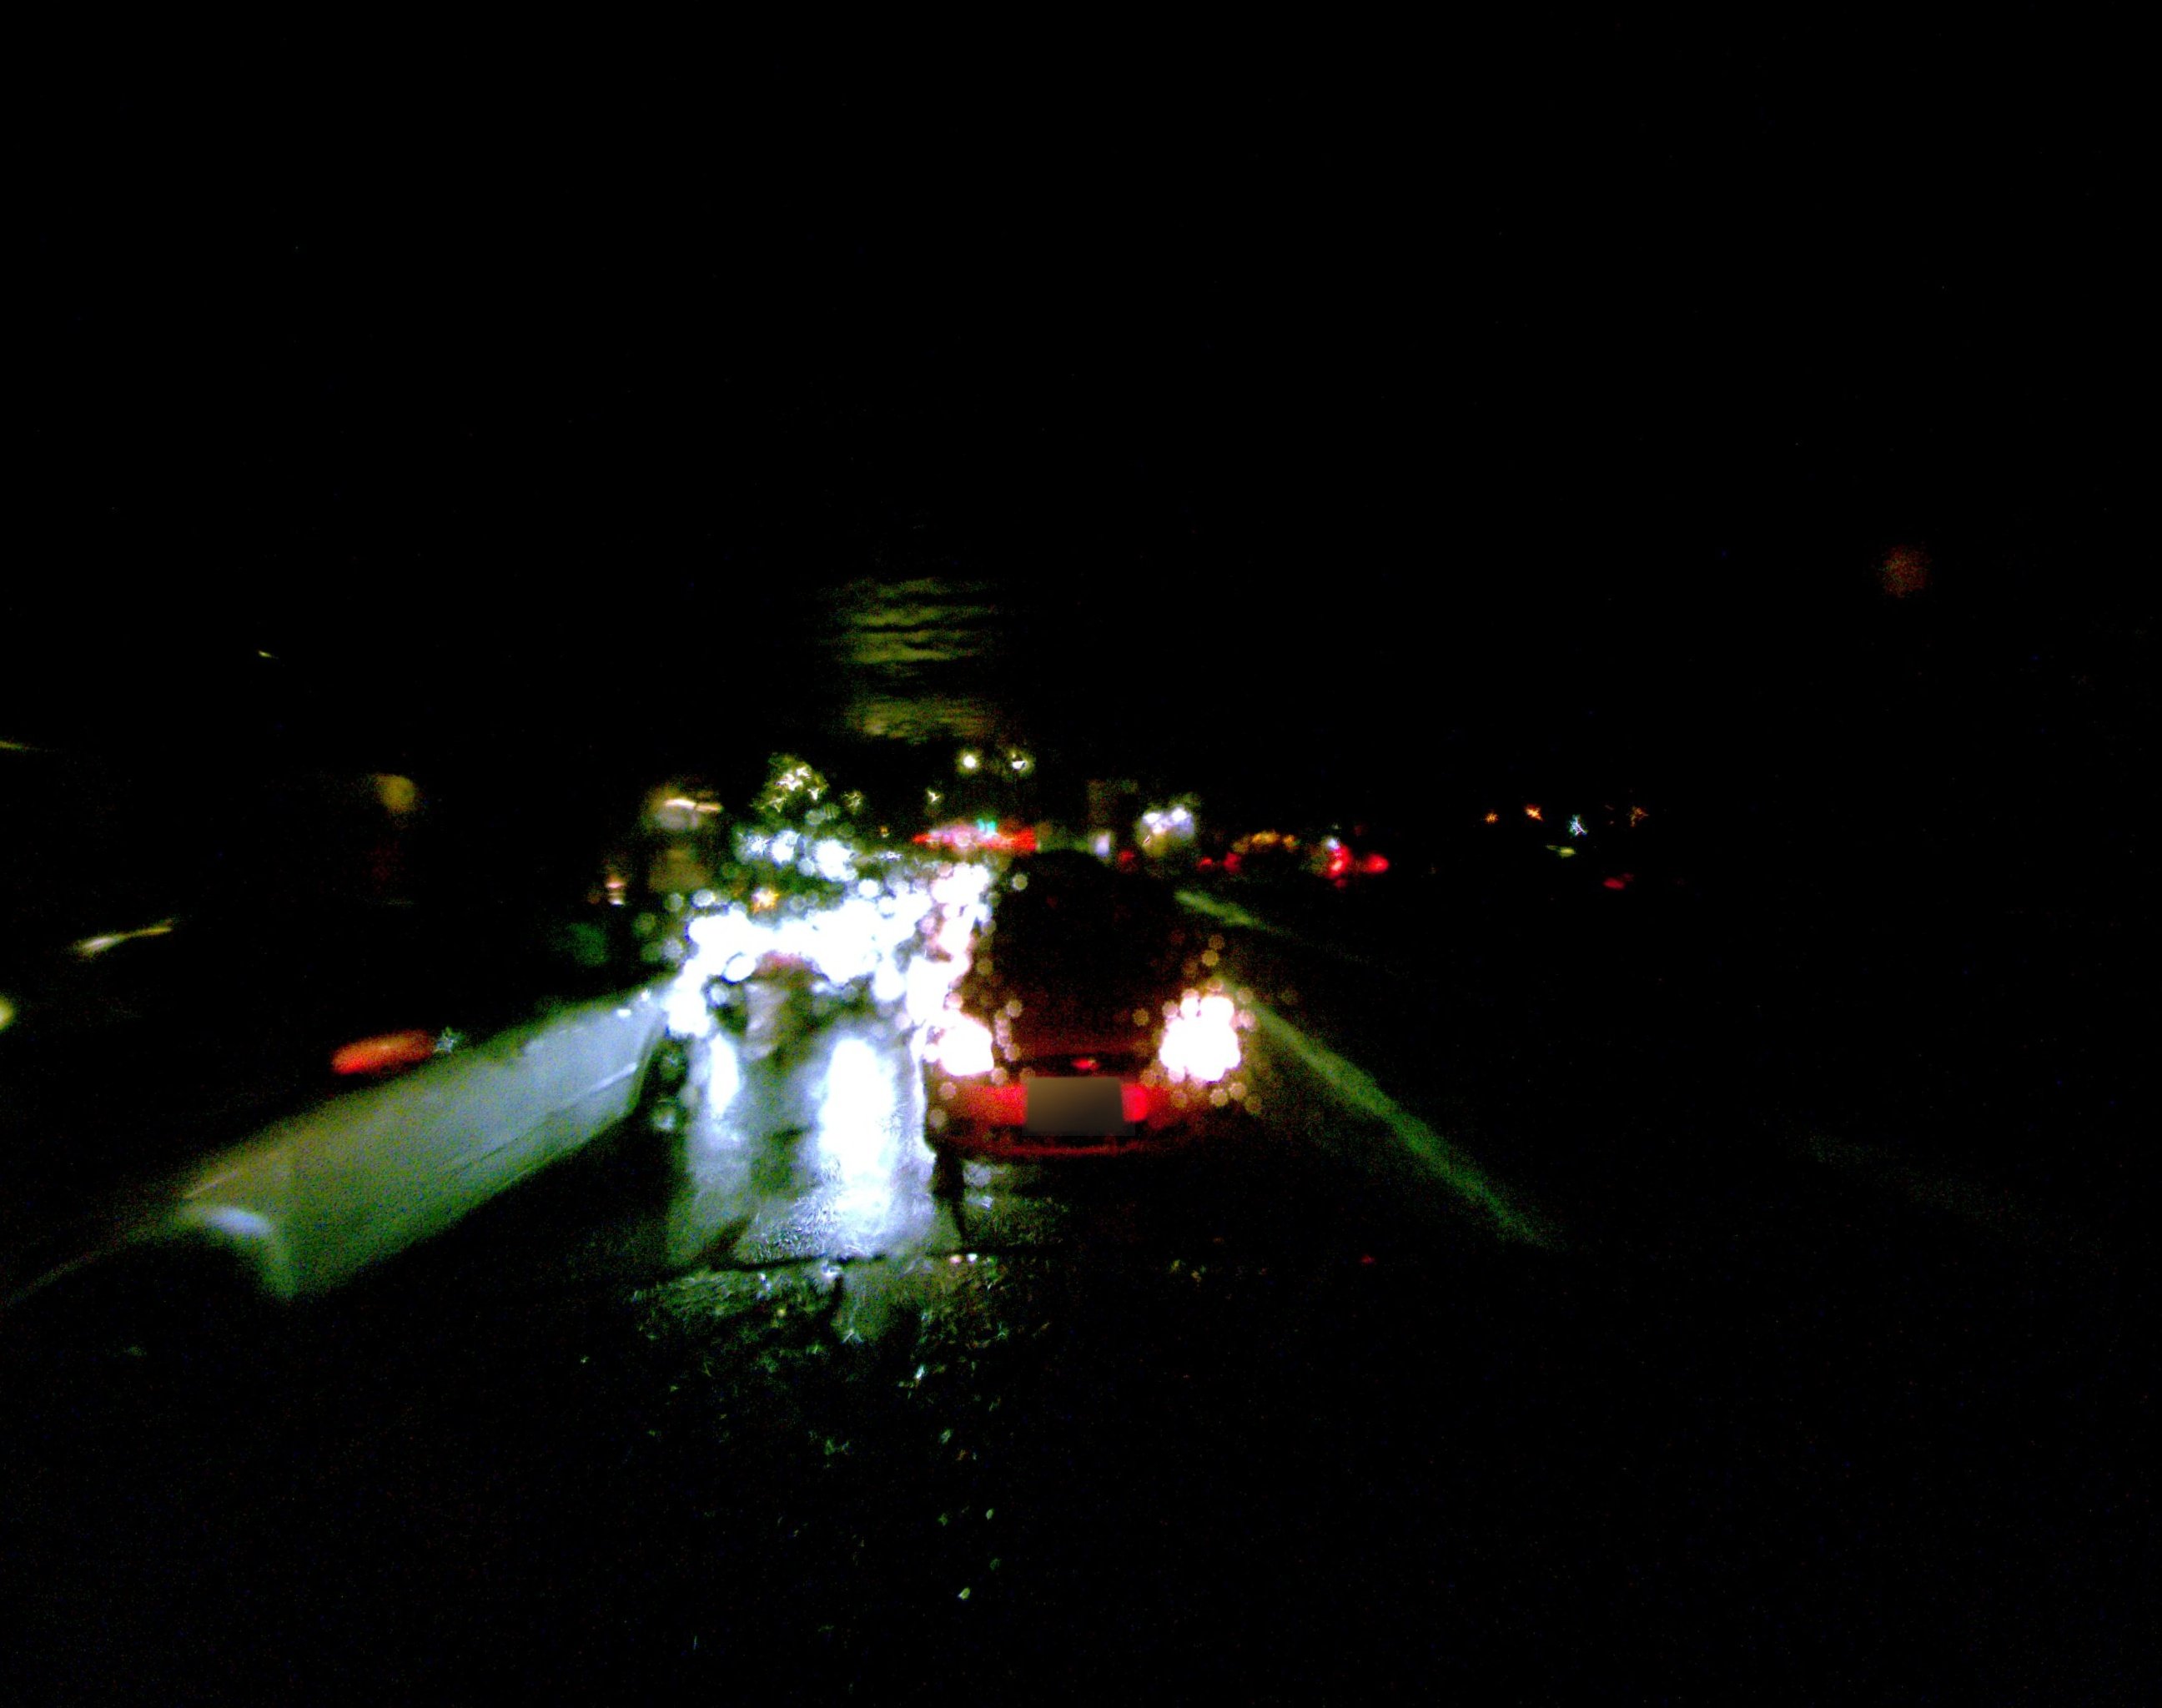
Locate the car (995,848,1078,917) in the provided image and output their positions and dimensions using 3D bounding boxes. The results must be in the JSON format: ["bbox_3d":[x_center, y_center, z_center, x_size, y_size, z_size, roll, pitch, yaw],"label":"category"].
[{"bbox_3d":[-1.117,0.640,19.761,1.881,1.534,3.999,-2,1,-2],"label":"car"}]

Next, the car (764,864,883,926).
[{"bbox_3d":[-7.448,1.108,22.492,1.842,1.469,4.628,-2,1,1],"label":"car"}]

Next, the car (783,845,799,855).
[{"bbox_3d":[-48.723,-0.654,127.723,1.885,1.463,3.991,-3,1,-30],"label":"car"}]

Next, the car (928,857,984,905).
[{"bbox_3d":[-4.385,0.900,27.209,1.683,1.463,3.997,-2,1,-6],"label":"car"}]

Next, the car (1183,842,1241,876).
[{"bbox_3d":[7.356,0.227,43.056,1.970,1.731,4.915,-2,1,-5],"label":"car"}]

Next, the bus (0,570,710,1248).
[{"bbox_3d":[-6.393,0.291,5.446,2.776,3.105,9.760,-2,0,-1],"label":"bus"}]

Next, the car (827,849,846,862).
[{"bbox_3d":[-30.040,0.222,93.265,1.884,1.463,3.993,-3,1,-22],"label":"car"}]

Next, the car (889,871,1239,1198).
[{"bbox_3d":[-0.052,0.903,5.566,1.603,1.360,3.942,-2,1,1],"label":"car"}]

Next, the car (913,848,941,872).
[{"bbox_3d":[-13.690,0.542,67.352,2.001,2.002,3.994,-3,1,-18],"label":"car"}]

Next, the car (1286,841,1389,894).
[{"bbox_3d":[9.381,0.441,28.210,1.910,1.731,4.395,-2,1,-6],"label":"car"}]

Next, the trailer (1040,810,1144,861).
[{"bbox_3d":[0.614,-1.532,69.639,3.974,4.152,13.893,-3,1,-24],"label":"trailer"}]

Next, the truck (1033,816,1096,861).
[{"bbox_3d":[-1.753,-1.501,75.074,3.974,4.152,6.364,-3,1,-24],"label":"truck"}]

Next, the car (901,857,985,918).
[{"bbox_3d":[-3.926,0.904,22.230,1.629,1.494,3.999,-2,1,1],"label":"car"}]

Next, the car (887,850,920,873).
[{"bbox_3d":[-11.982,0.472,51.514,1.854,1.447,4.498,-1,0,-10],"label":"car"}]

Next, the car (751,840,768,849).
[{"bbox_3d":[-62.497,-1.869,147.700,1.886,1.463,3.989,-3,1,-43],"label":"car"}]

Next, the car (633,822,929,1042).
[{"bbox_3d":[-3.375,0.743,9.636,1.999,2.076,4.347,-2,1,-1],"label":"car"}]

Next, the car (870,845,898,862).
[{"bbox_3d":[-18.030,-0.053,69.518,1.856,1.423,4.492,-3,2,-22],"label":"car"}]

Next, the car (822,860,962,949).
[{"bbox_3d":[-3.747,0.938,15.798,1.869,1.503,3.766,-2,1,1],"label":"car"}]

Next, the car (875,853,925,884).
[{"bbox_3d":[-9.156,0.707,38.738,1.854,1.476,4.627,-1,0,-6],"label":"car"}]

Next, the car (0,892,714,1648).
[{"bbox_3d":[-3.206,1.003,2.682,1.792,1.359,3.999,-2,2,0],"label":"car"}]

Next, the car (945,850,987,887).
[{"bbox_3d":[-5.393,0.654,36.104,1.743,1.581,3.997,-2,1,-6],"label":"car"}]

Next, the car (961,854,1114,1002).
[{"bbox_3d":[-0.472,0.845,10.676,1.683,1.591,3.996,-2,1,1],"label":"car"}]

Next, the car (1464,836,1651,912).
[{"bbox_3d":[12.502,0.461,20.347,1.859,1.739,4.503,-2,1,-5],"label":"car"}]
